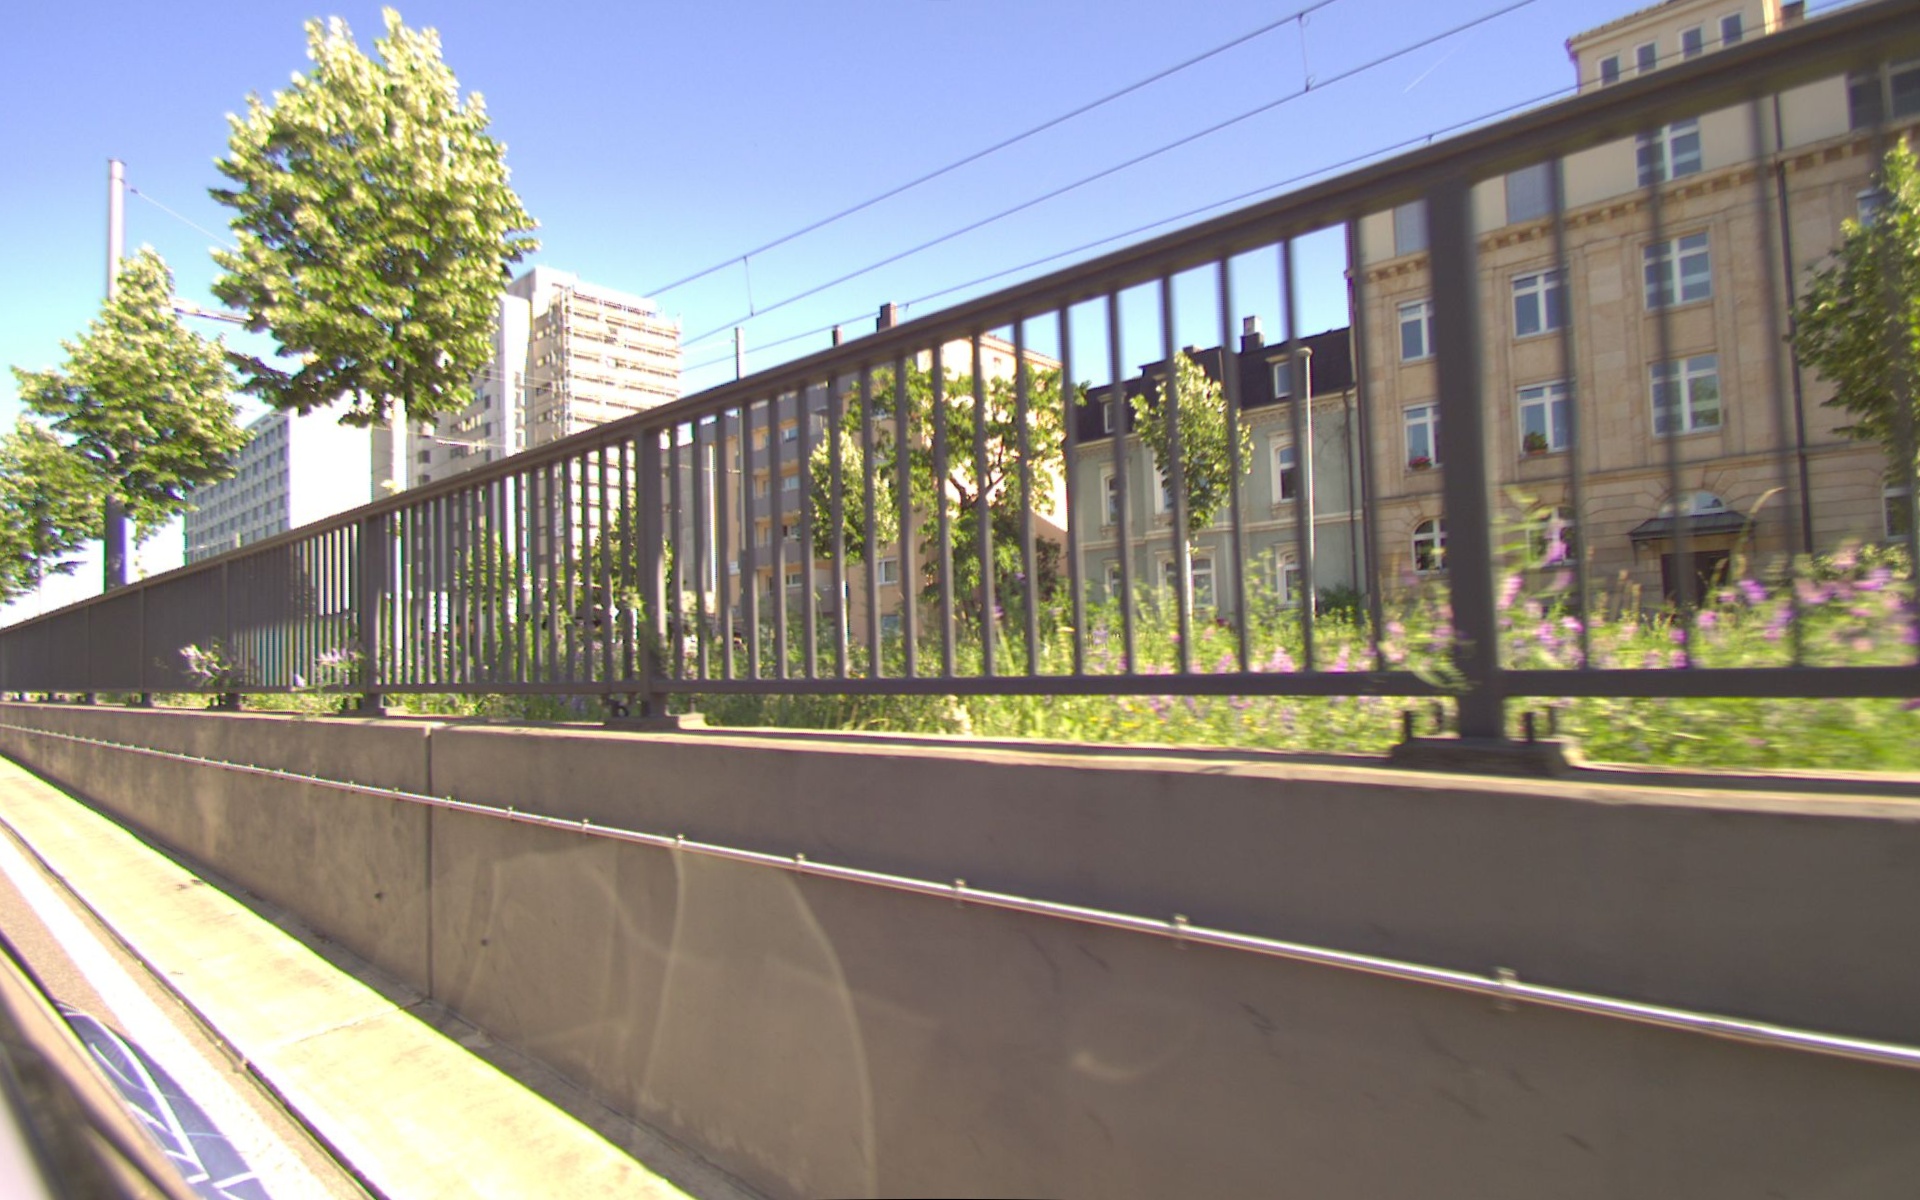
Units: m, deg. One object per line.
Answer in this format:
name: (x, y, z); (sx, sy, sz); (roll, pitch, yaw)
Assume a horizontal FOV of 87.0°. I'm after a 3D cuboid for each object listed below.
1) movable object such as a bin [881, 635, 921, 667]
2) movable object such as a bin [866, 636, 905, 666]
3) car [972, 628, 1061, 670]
movable object such as a bin: (-2.768, 2.391, 47.624); (1.327, 1.410, 1.249); (-4, -2, 45)
movable object such as a bin: (-3.579, 2.451, 48.594); (1.326, 1.381, 1.250); (-5, -4, 42)
car: (2.553, 2.156, 44.966); (1.914, 1.740, 3.947); (-5, -4, 39)
